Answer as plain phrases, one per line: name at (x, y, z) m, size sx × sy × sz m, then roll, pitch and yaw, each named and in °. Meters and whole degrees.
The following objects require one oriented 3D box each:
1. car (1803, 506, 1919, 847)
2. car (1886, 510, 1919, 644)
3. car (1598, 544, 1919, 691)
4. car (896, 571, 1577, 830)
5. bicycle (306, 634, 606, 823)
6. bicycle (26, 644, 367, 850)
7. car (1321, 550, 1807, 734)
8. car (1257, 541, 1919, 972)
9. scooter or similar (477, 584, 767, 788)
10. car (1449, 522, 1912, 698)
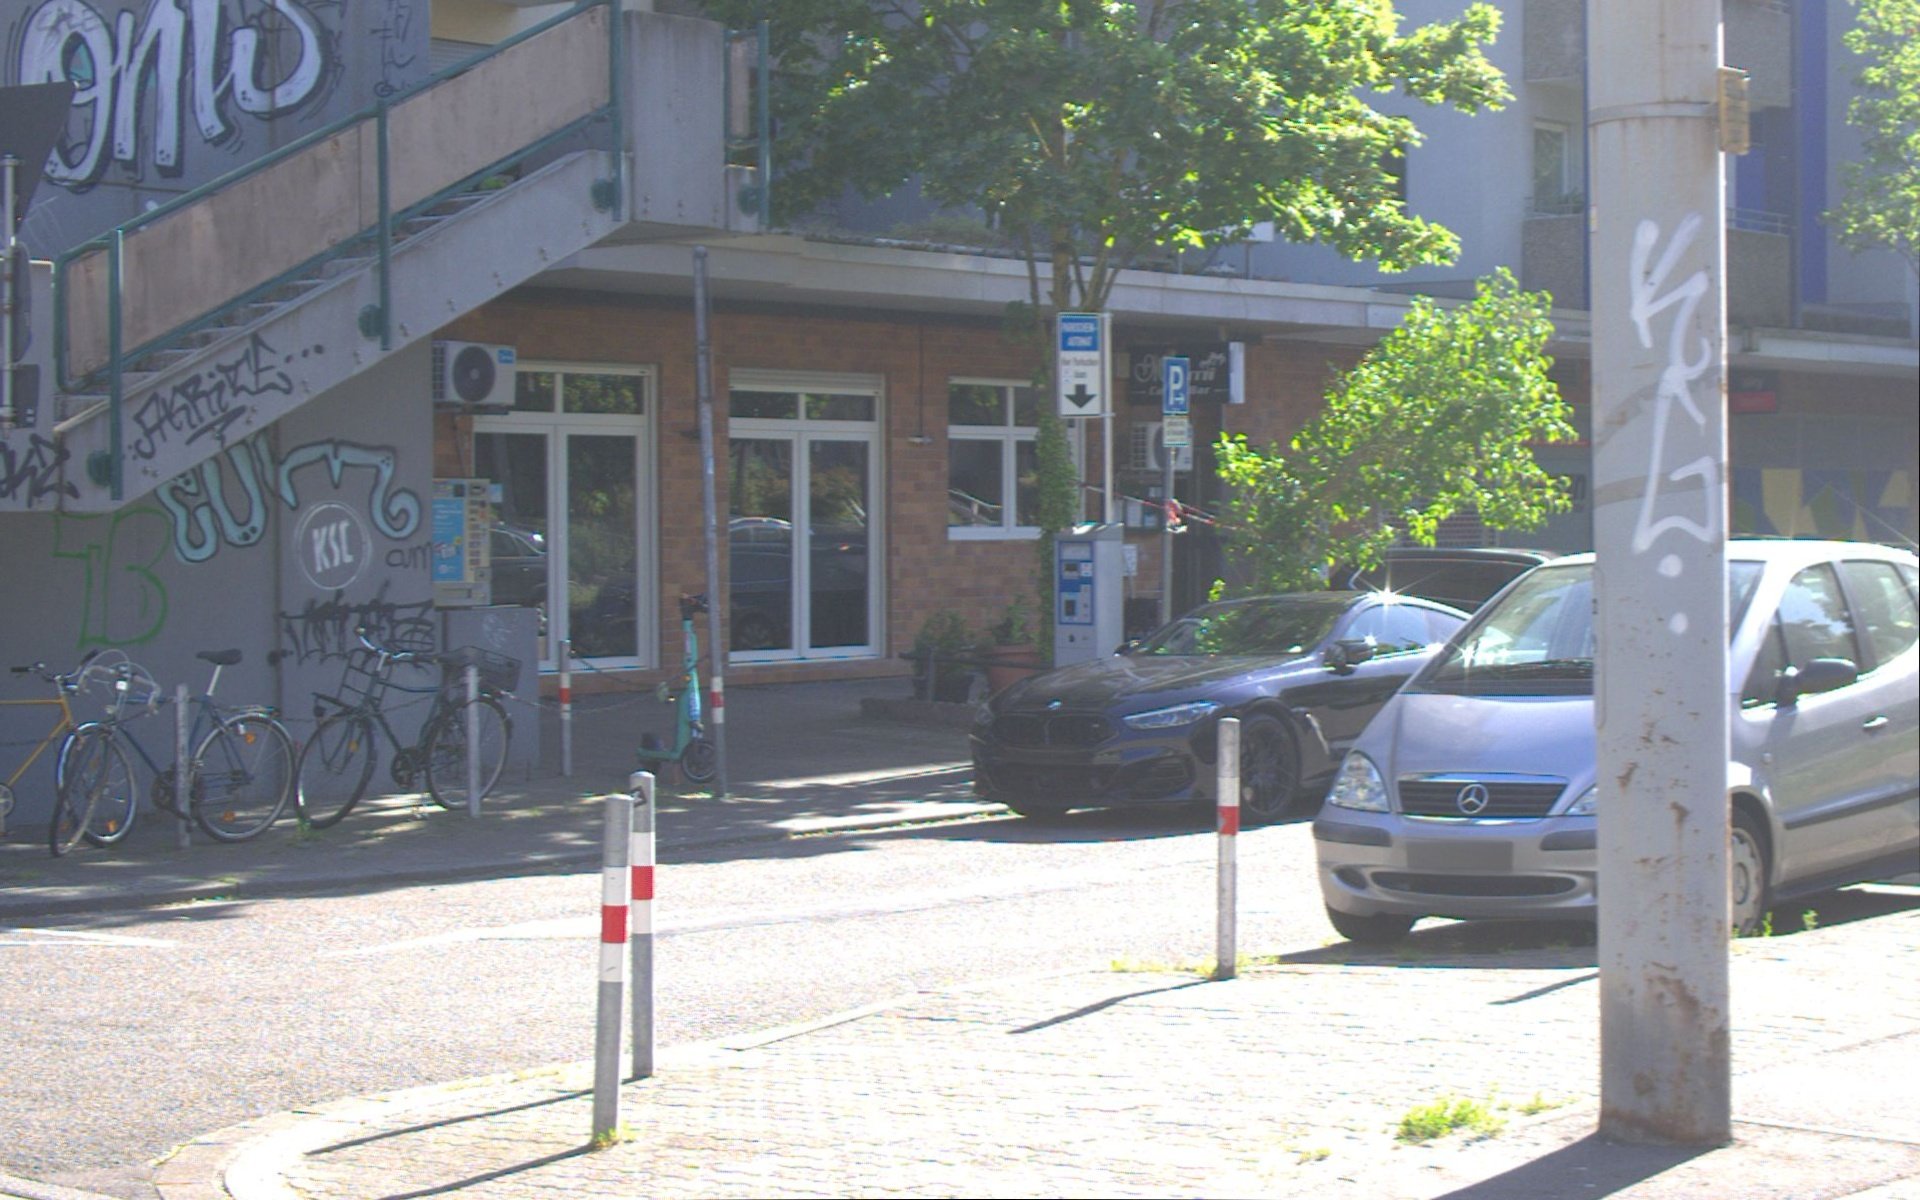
car at (6.279, 0.312, 17.766) m, size 1.872 × 1.622 × 4.494 m, roll 0°, pitch 1°, yaw 41°
car at (13.373, -0.277, 41.315) m, size 3.995 × 1.624 × 1.684 m, roll 1°, pitch 2°, yaw 37°
car at (8.720, 0.145, 35.165) m, size 3.995 × 1.420 × 1.684 m, roll 1°, pitch 2°, yaw 37°
car at (1.847, 0.551, 21.700) m, size 1.895 × 1.393 × 4.518 m, roll 0°, pitch 1°, yaw 42°
bicycle at (-2.971, 0.743, 20.398) m, size 1.797 × 0.997 × 0.415 m, roll -2°, pitch 5°, yaw -40°
bicycle at (-4.196, 0.793, 18.962) m, size 1.796 × 1.027 × 0.415 m, roll -1°, pitch 4°, yaw -33°
car at (5.464, 0.328, 31.285) m, size 3.995 × 1.546 × 1.766 m, roll 1°, pitch 2°, yaw 37°
car at (2.919, 0.536, 14.199) m, size 1.723 × 1.513 × 3.524 m, roll 0°, pitch 1°, yaw 38°
scooter or similar at (-2.253, 0.546, 22.770) m, size 1.971 × 1.272 × 0.630 m, roll 1°, pitch 2°, yaw 36°
car at (6.946, 0.054, 33.297) m, size 3.995 × 1.602 × 1.838 m, roll 1°, pitch 2°, yaw 37°
